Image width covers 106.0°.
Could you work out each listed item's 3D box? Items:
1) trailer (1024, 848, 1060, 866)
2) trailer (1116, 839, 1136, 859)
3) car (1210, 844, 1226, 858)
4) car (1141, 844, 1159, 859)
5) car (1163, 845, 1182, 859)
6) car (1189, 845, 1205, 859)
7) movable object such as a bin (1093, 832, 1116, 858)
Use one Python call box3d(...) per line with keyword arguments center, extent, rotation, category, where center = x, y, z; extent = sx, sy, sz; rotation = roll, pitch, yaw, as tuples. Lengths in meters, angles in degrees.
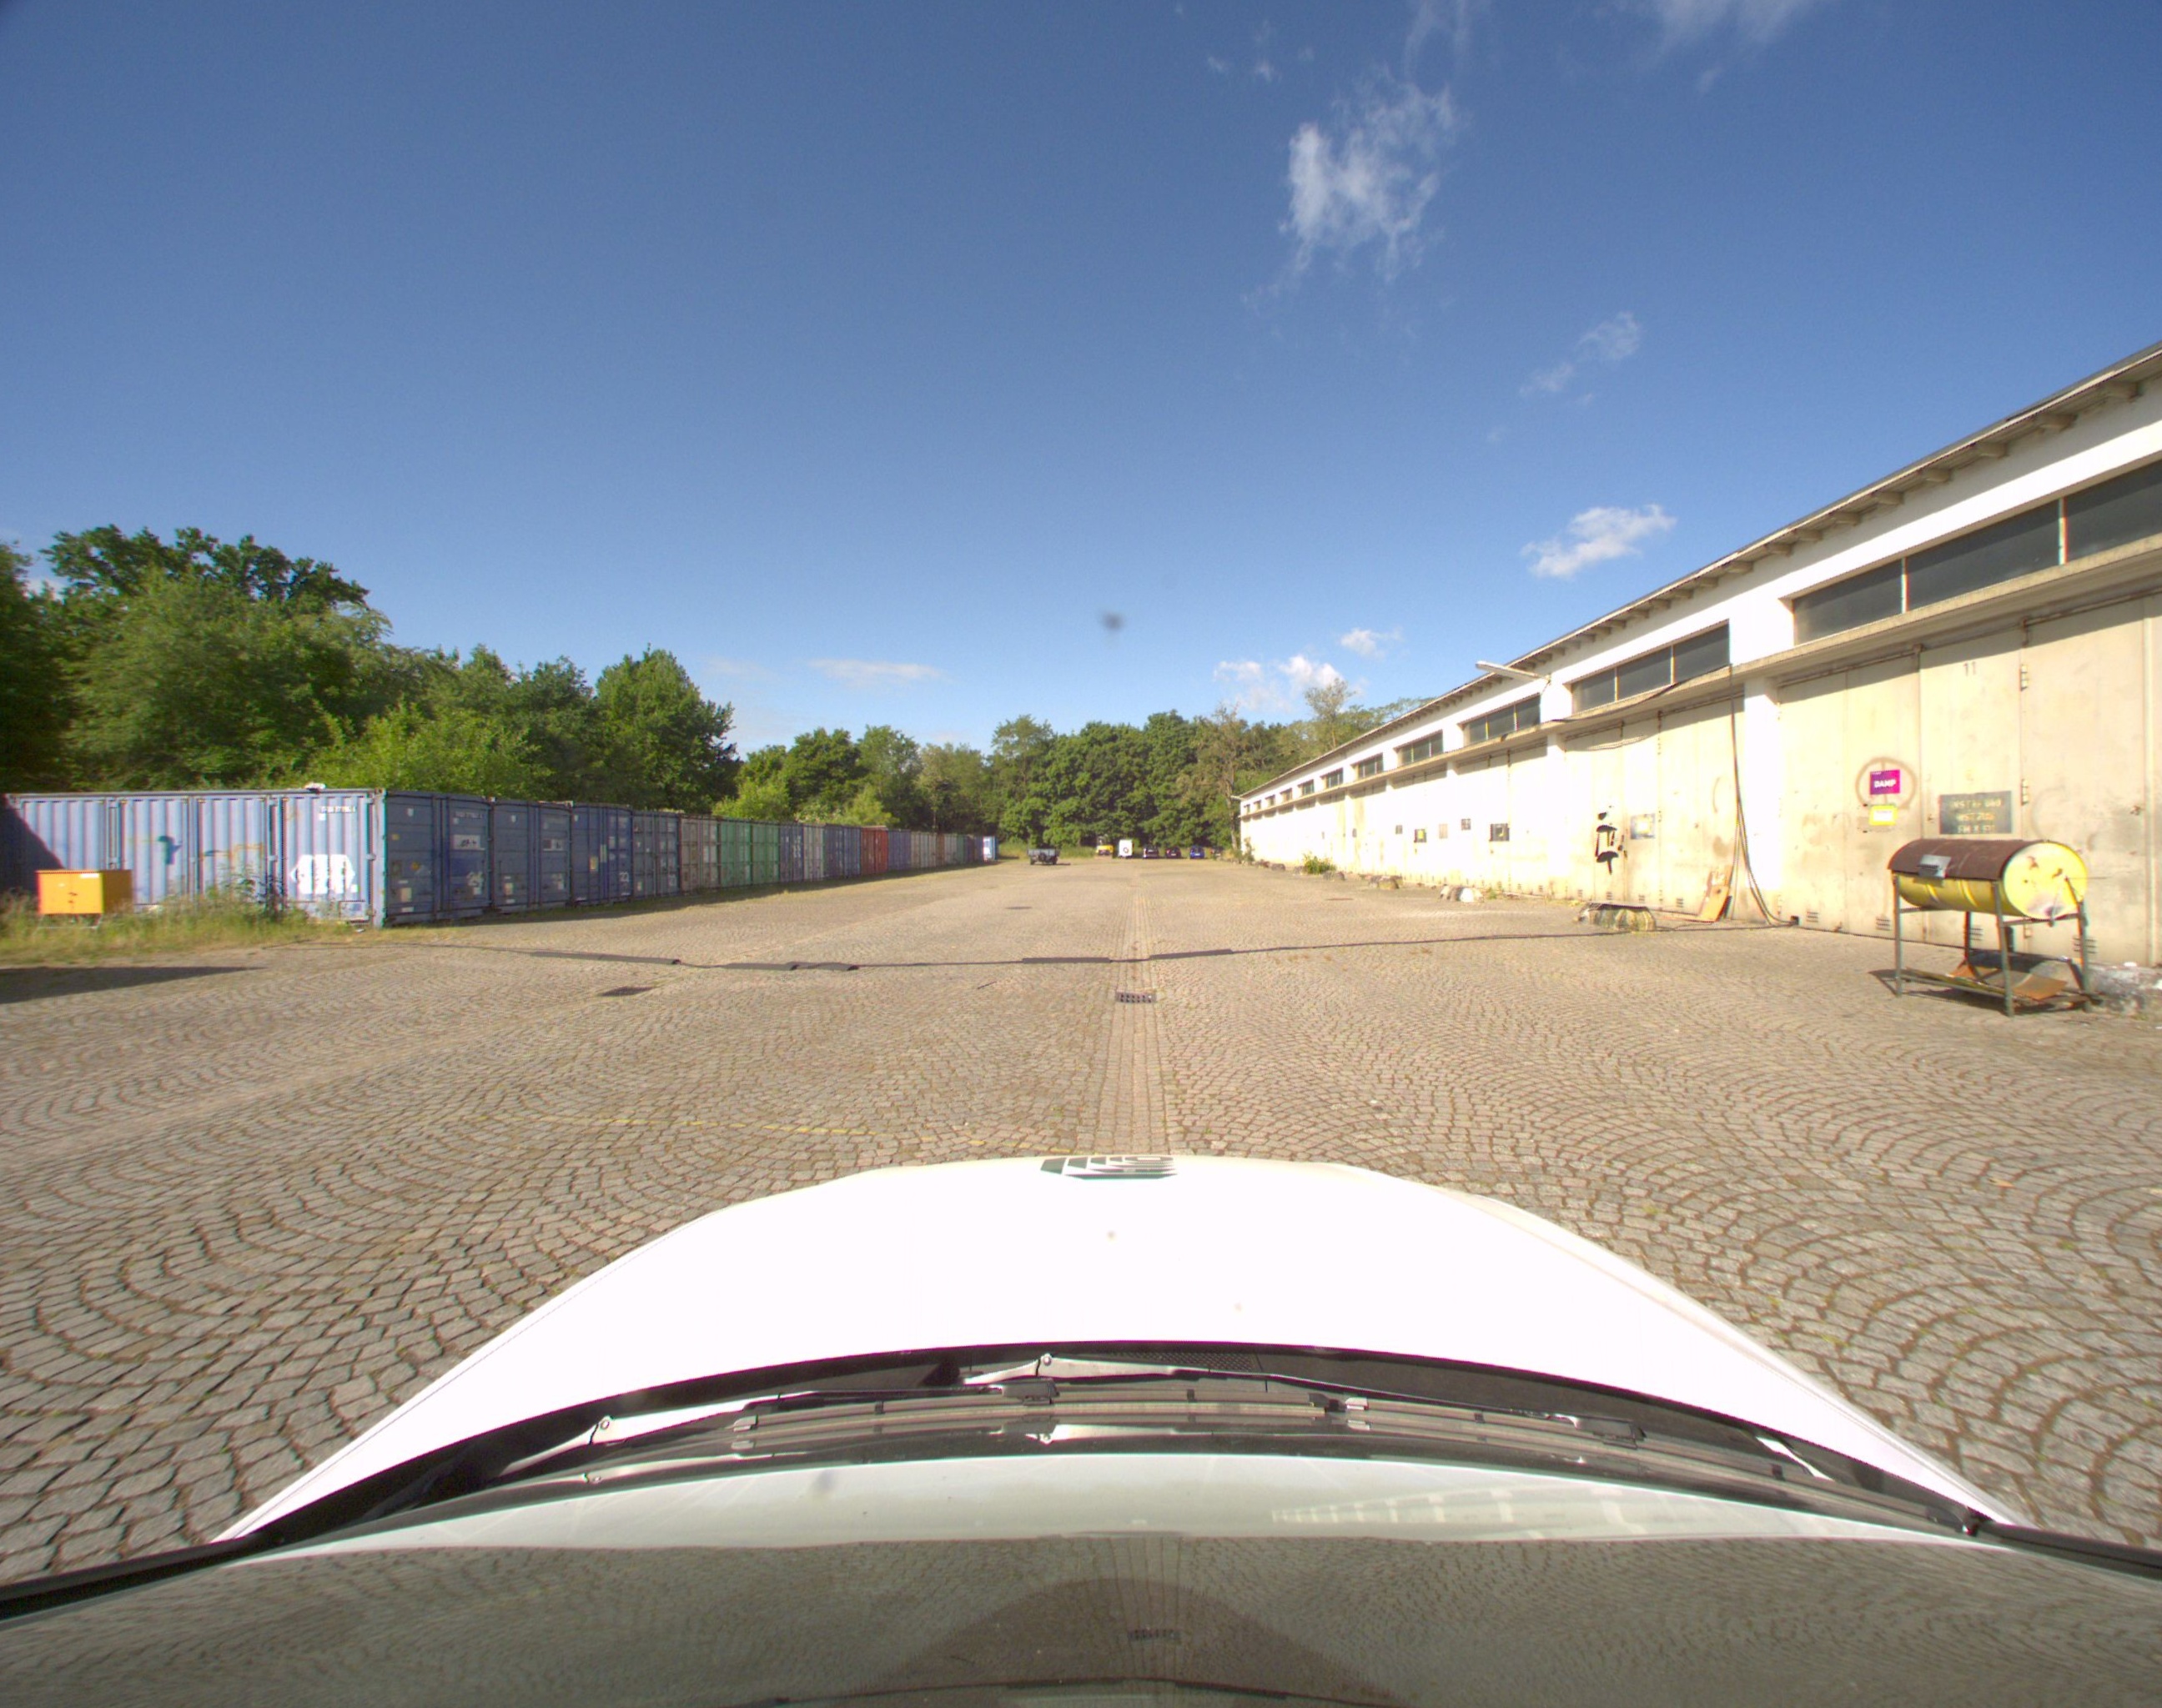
box3d(center=(-3.415, 0.235, 72.972), extent=(2.695, 1.465, 6.252), rotation=(0, 1, 2), category="trailer")
box3d(center=(5.098, -0.633, 92.638), extent=(2.183, 2.094, 5.757), rotation=(0, 2, 3), category="trailer")
box3d(center=(15.415, -0.313, 91.403), extent=(1.733, 1.436, 4.196), rotation=(1, 2, 11), category="car")
box3d(center=(7.632, -0.278, 90.115), extent=(1.855, 1.589, 4.300), rotation=(0, 2, 3), category="car")
box3d(center=(10.134, -0.227, 90.346), extent=(1.855, 1.470, 4.300), rotation=(0, 2, 3), category="car")
box3d(center=(12.882, -0.224, 90.132), extent=(1.734, 1.436, 4.194), rotation=(0, 2, 9), category="car")
box3d(center=(2.766, -1.068, 93.358), extent=(2.296, 2.896, 5.759), rotation=(0, 2, 4), category="movable object such as a bin")
